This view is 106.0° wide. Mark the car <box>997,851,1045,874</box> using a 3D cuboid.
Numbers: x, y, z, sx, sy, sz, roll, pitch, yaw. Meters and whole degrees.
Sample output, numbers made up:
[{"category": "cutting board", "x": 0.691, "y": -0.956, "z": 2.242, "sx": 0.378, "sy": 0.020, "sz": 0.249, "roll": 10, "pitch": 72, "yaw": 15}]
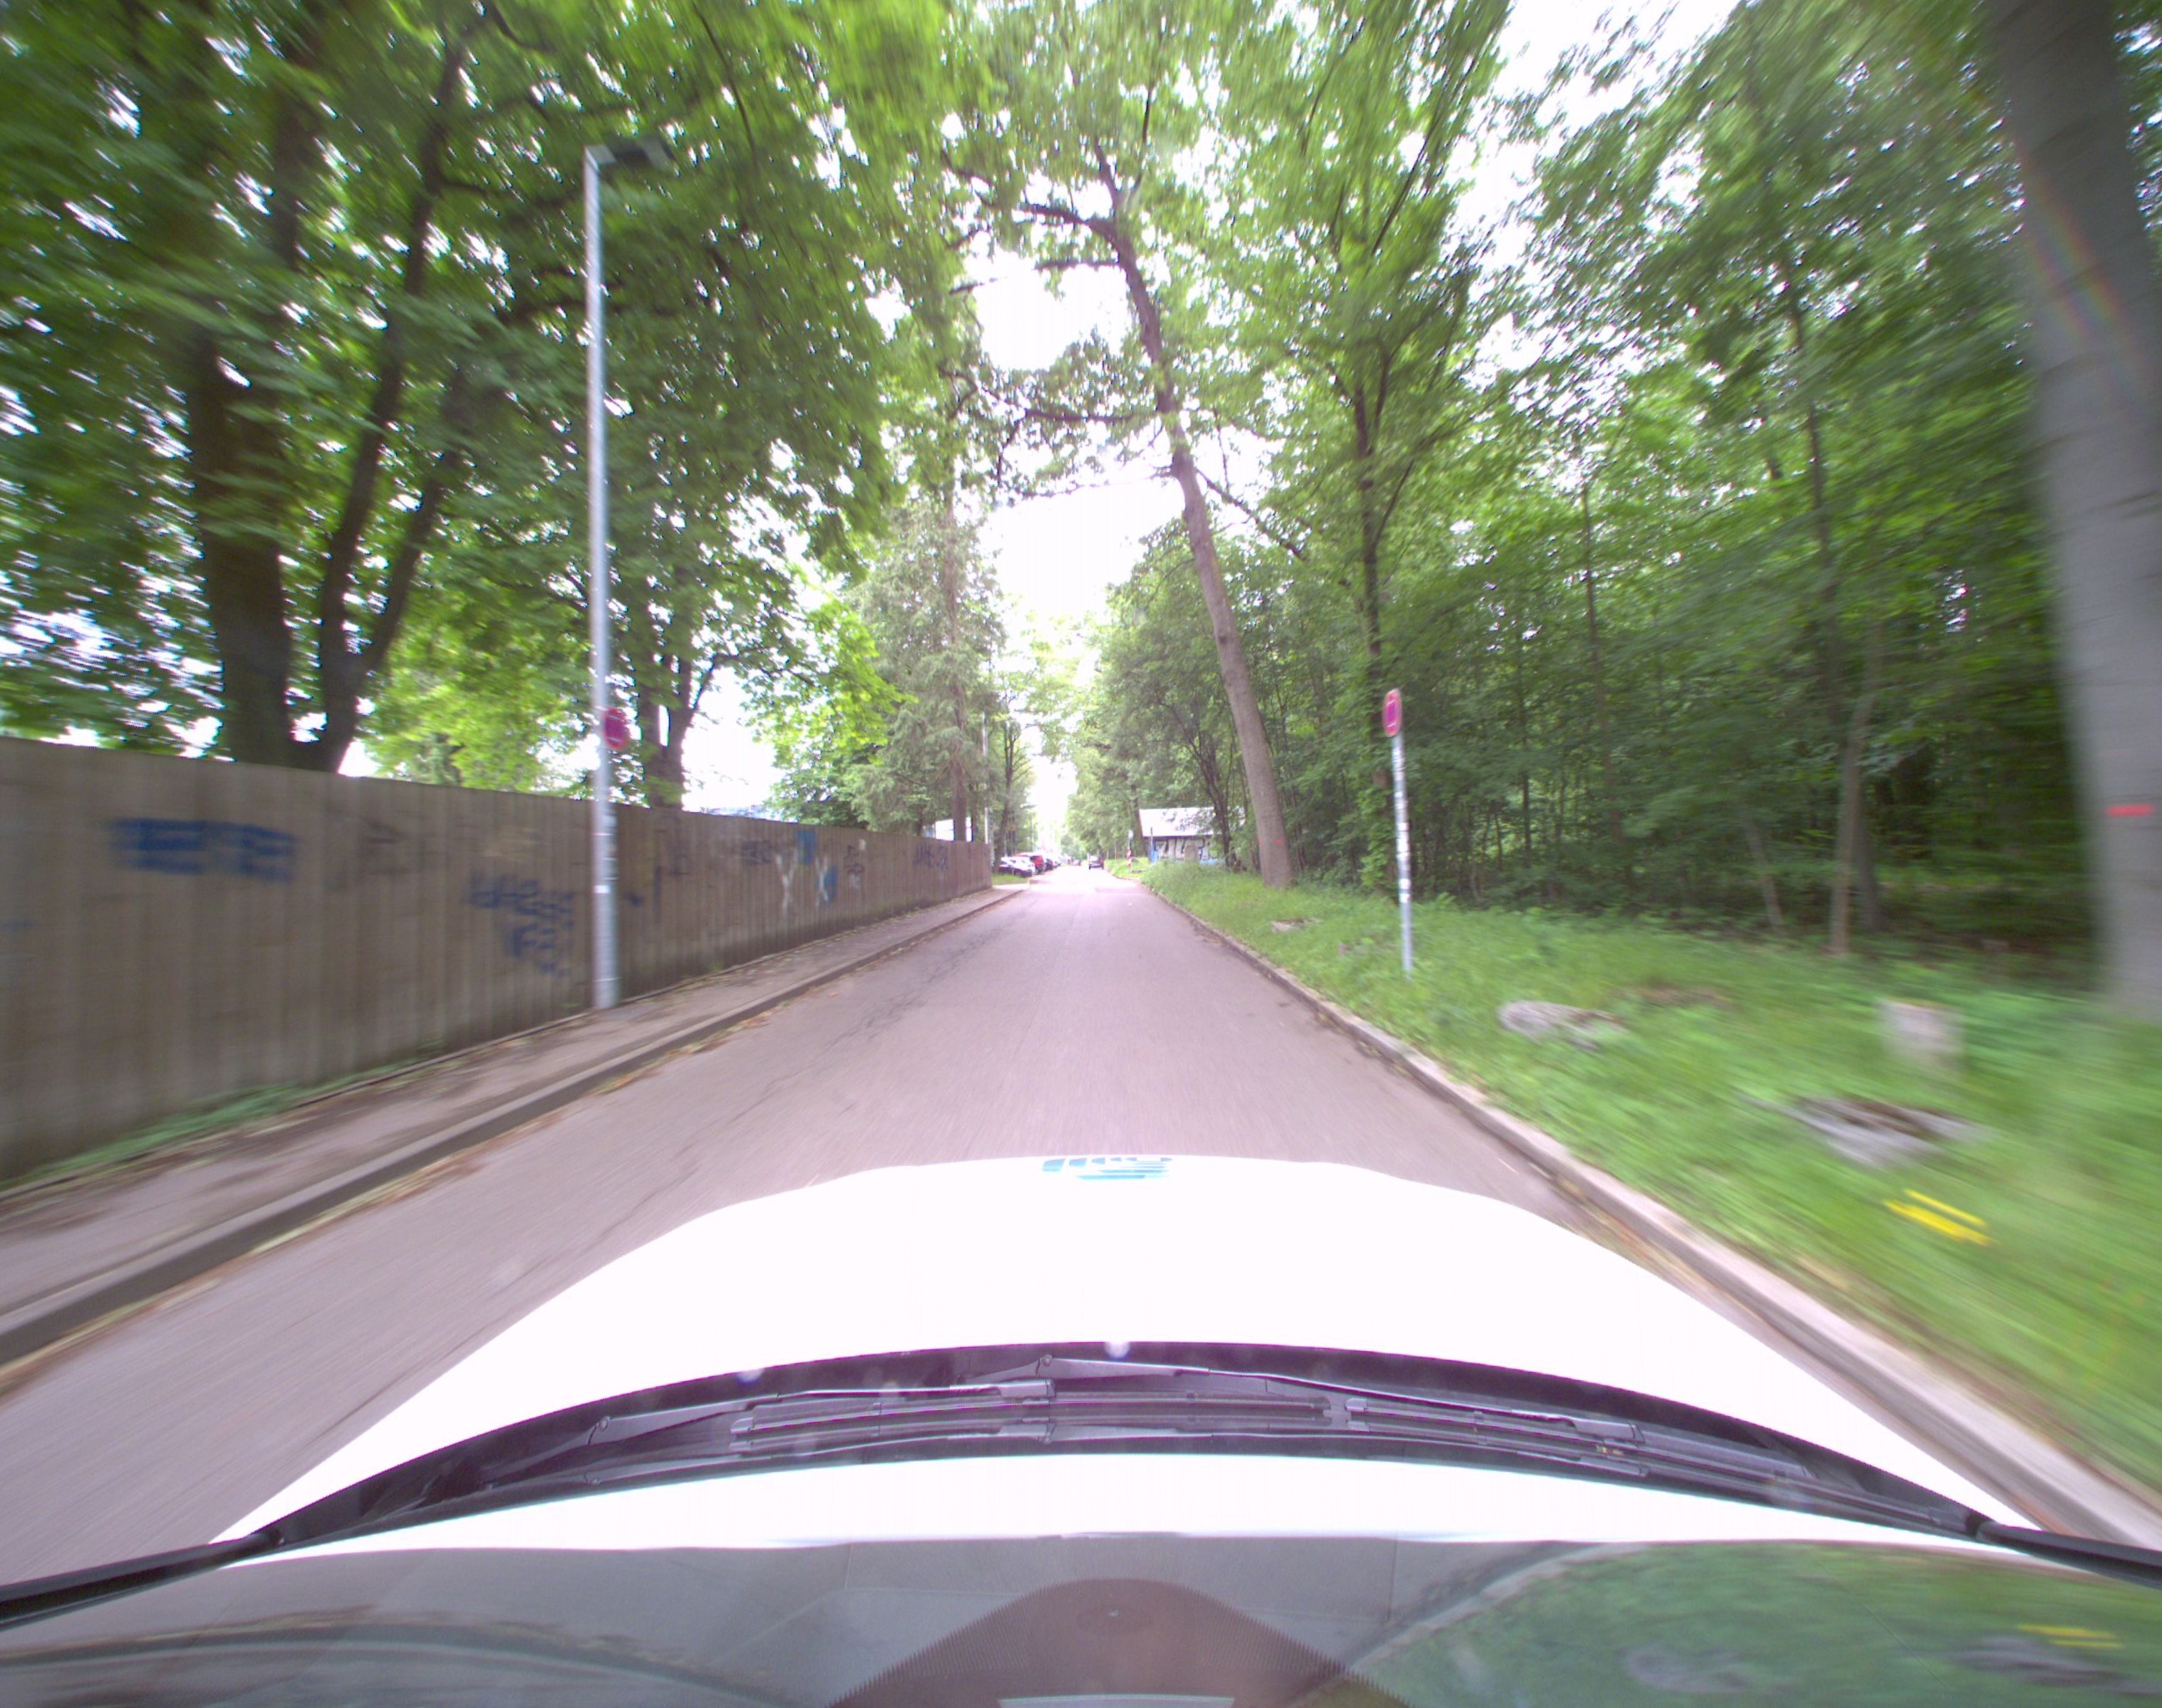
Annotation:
[{"category": "car", "x": -5.092, "y": 0.744, "z": 69.824, "sx": 3.978, "sy": 1.750, "sz": 1.998, "roll": -2, "pitch": 0, "yaw": -3}]

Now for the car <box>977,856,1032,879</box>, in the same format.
[{"category": "car", "x": -5.765, "y": 0.987, "z": 61.565, "sx": 3.978, "sy": 1.574, "sz": 1.998, "roll": -2, "pitch": 0, "yaw": -3}]

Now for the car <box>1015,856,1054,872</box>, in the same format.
[{"category": "car", "x": -4.478, "y": 0.973, "z": 79.105, "sx": 3.560, "sy": 1.407, "sz": 1.650, "roll": -2, "pitch": -1, "yaw": 0}]

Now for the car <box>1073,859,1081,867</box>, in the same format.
[{"category": "car", "x": -1.256, "y": 2.604, "z": 231.908, "sx": 1.990, "sy": 2.013, "sz": 3.993, "roll": -2, "pitch": 0, "yaw": -5}]

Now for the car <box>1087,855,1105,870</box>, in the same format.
[{"category": "car", "x": 1.666, "y": 0.932, "z": 87.987, "sx": 1.900, "sy": 1.508, "sz": 4.002, "roll": 0, "pitch": -1, "yaw": 2}]

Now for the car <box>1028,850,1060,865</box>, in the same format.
[{"category": "car", "x": -4.756, "y": 0.440, "z": 104.626, "sx": 3.974, "sy": 1.596, "sz": 1.765, "roll": -4, "pitch": -1, "yaw": 0}]

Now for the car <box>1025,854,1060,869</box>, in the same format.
[{"category": "car", "x": -4.166, "y": 0.827, "z": 88.692, "sx": 3.560, "sy": 1.407, "sz": 1.650, "roll": -2, "pitch": -1, "yaw": 0}]

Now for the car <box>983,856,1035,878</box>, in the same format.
[{"category": "car", "x": -5.705, "y": 0.989, "z": 64.655, "sx": 3.978, "sy": 1.574, "sz": 1.998, "roll": -2, "pitch": 0, "yaw": -3}]

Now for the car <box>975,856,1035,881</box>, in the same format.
[{"category": "car", "x": -5.247, "y": 1.004, "z": 56.694, "sx": 3.978, "sy": 1.574, "sz": 1.998, "roll": -2, "pitch": 0, "yaw": -3}]

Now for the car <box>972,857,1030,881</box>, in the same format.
[{"category": "car", "x": -5.776, "y": 1.060, "z": 59.028, "sx": 3.978, "sy": 1.574, "sz": 1.998, "roll": -2, "pitch": 0, "yaw": -3}]
